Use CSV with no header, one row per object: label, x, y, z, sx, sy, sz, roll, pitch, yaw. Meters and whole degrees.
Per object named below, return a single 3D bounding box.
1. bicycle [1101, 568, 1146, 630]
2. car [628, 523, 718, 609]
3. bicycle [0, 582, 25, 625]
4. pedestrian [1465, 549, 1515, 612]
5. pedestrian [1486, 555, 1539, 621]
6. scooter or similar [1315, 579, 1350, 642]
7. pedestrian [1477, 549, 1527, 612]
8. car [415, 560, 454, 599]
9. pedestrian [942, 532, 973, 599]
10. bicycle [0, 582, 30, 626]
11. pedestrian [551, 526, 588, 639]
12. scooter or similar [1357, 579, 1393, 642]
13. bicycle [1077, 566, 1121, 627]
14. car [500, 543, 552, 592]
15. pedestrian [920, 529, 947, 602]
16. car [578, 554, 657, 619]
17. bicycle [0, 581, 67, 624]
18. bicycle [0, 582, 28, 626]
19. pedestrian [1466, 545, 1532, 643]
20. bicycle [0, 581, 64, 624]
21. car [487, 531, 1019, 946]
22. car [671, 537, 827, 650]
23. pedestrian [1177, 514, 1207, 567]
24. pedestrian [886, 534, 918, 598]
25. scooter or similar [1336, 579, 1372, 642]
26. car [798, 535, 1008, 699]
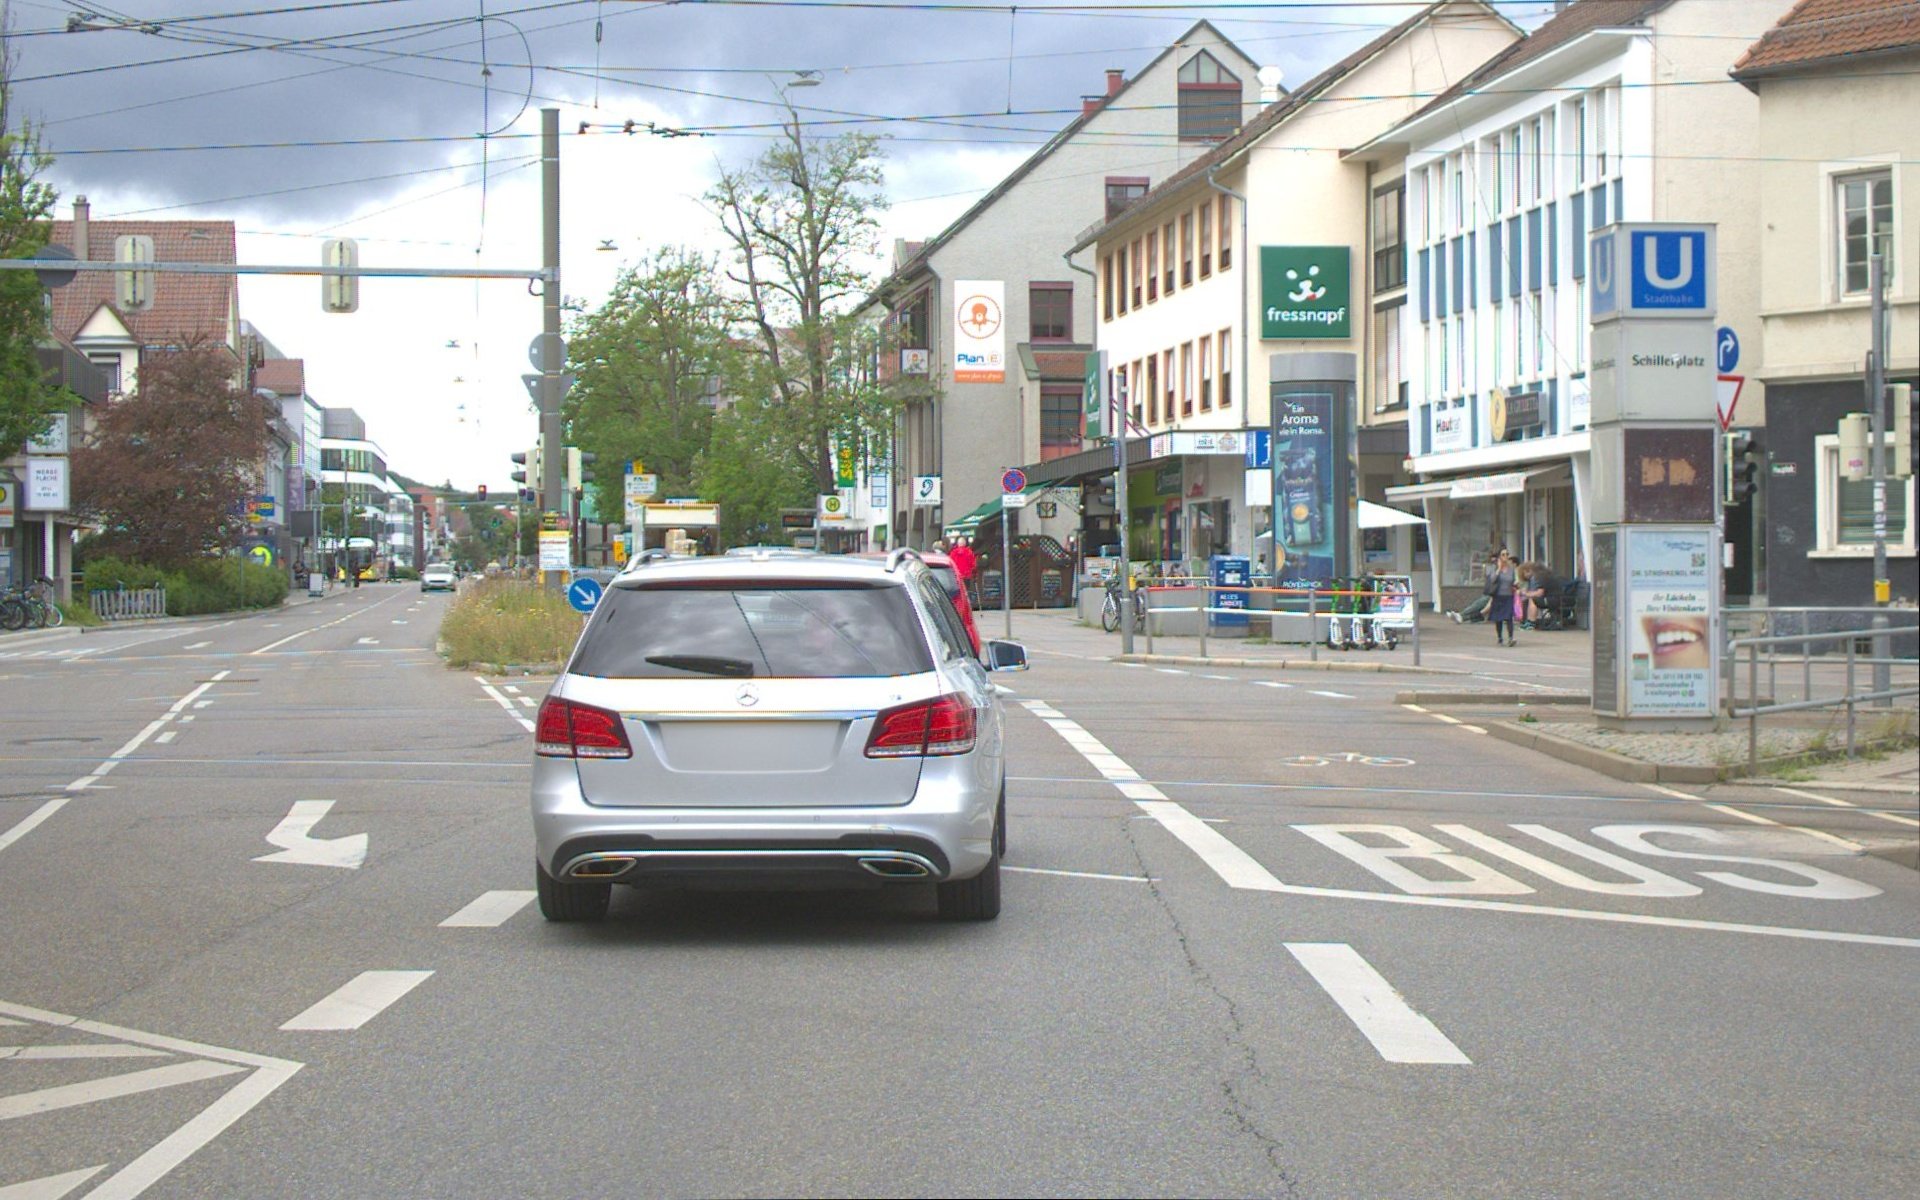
bicycle,2.975,-0.024,62.595,0.448,1.103,2.150,0,1,-7
car,-6.084,-0.736,72.583,1.734,1.753,4.001,-1,1,-7
bicycle,-23.297,0.078,81.945,1.937,1.025,0.530,1,0,-17
pedestrian,9.943,-0.363,64.506,0.736,1.160,0.643,1,0,-10
pedestrian,9.819,-0.211,61.125,0.736,1.160,0.643,1,0,-10
scooter or similar,6.028,0.160,55.676,0.271,0.998,1.029,0,1,-11
pedestrian,10.073,-0.357,63.867,0.736,1.160,0.643,1,0,-10
car,-28.049,-1.112,183.340,1.993,2.007,4.001,0,1,-10
pedestrian,-0.054,-0.763,75.710,0.578,1.464,0.651,1,0,-6
bicycle,-22.857,0.094,80.740,1.937,1.025,0.530,1,0,-17
pedestrian,-6.143,-0.279,54.057,0.533,1.757,0.580,0,1,-10
scooter or similar,6.742,0.167,55.840,0.271,0.998,1.029,0,1,-11
bicycle,2.529,-0.073,62.537,0.448,1.087,2.150,0,1,-7
car,-18.141,-1.374,143.630,1.993,2.007,4.001,0,1,-10
pedestrian,-0.618,-0.790,79.247,0.578,1.661,0.651,1,0,-2
car,-9.558,-0.391,95.768,1.993,1.744,4.001,0,1,-8
bicycle,-22.775,0.070,83.789,1.937,1.025,0.530,1,0,-17
bicycle,-23.086,0.086,81.375,1.937,1.025,0.530,1,0,-17
pedestrian,8.762,-0.100,55.907,0.640,1.586,0.898,1,0,-28
bicycle,-23.113,0.058,84.726,1.937,1.025,0.530,1,0,-17
car,-0.720,0.474,14.604,1.846,1.503,4.171,0,1,2
car,-3.005,-0.117,48.332,1.734,1.503,4.001,-1,1,-10
pedestrian,5.296,-1.356,78.496,0.533,1.214,0.580,1,0,-10
pedestrian,-1.310,-0.776,77.874,0.577,1.430,0.651,1,0,-14
scooter or similar,6.385,0.167,55.762,0.271,0.998,1.029,0,1,-11
car,-0.502,0.133,33.856,1.734,1.503,4.000,1,1,4
